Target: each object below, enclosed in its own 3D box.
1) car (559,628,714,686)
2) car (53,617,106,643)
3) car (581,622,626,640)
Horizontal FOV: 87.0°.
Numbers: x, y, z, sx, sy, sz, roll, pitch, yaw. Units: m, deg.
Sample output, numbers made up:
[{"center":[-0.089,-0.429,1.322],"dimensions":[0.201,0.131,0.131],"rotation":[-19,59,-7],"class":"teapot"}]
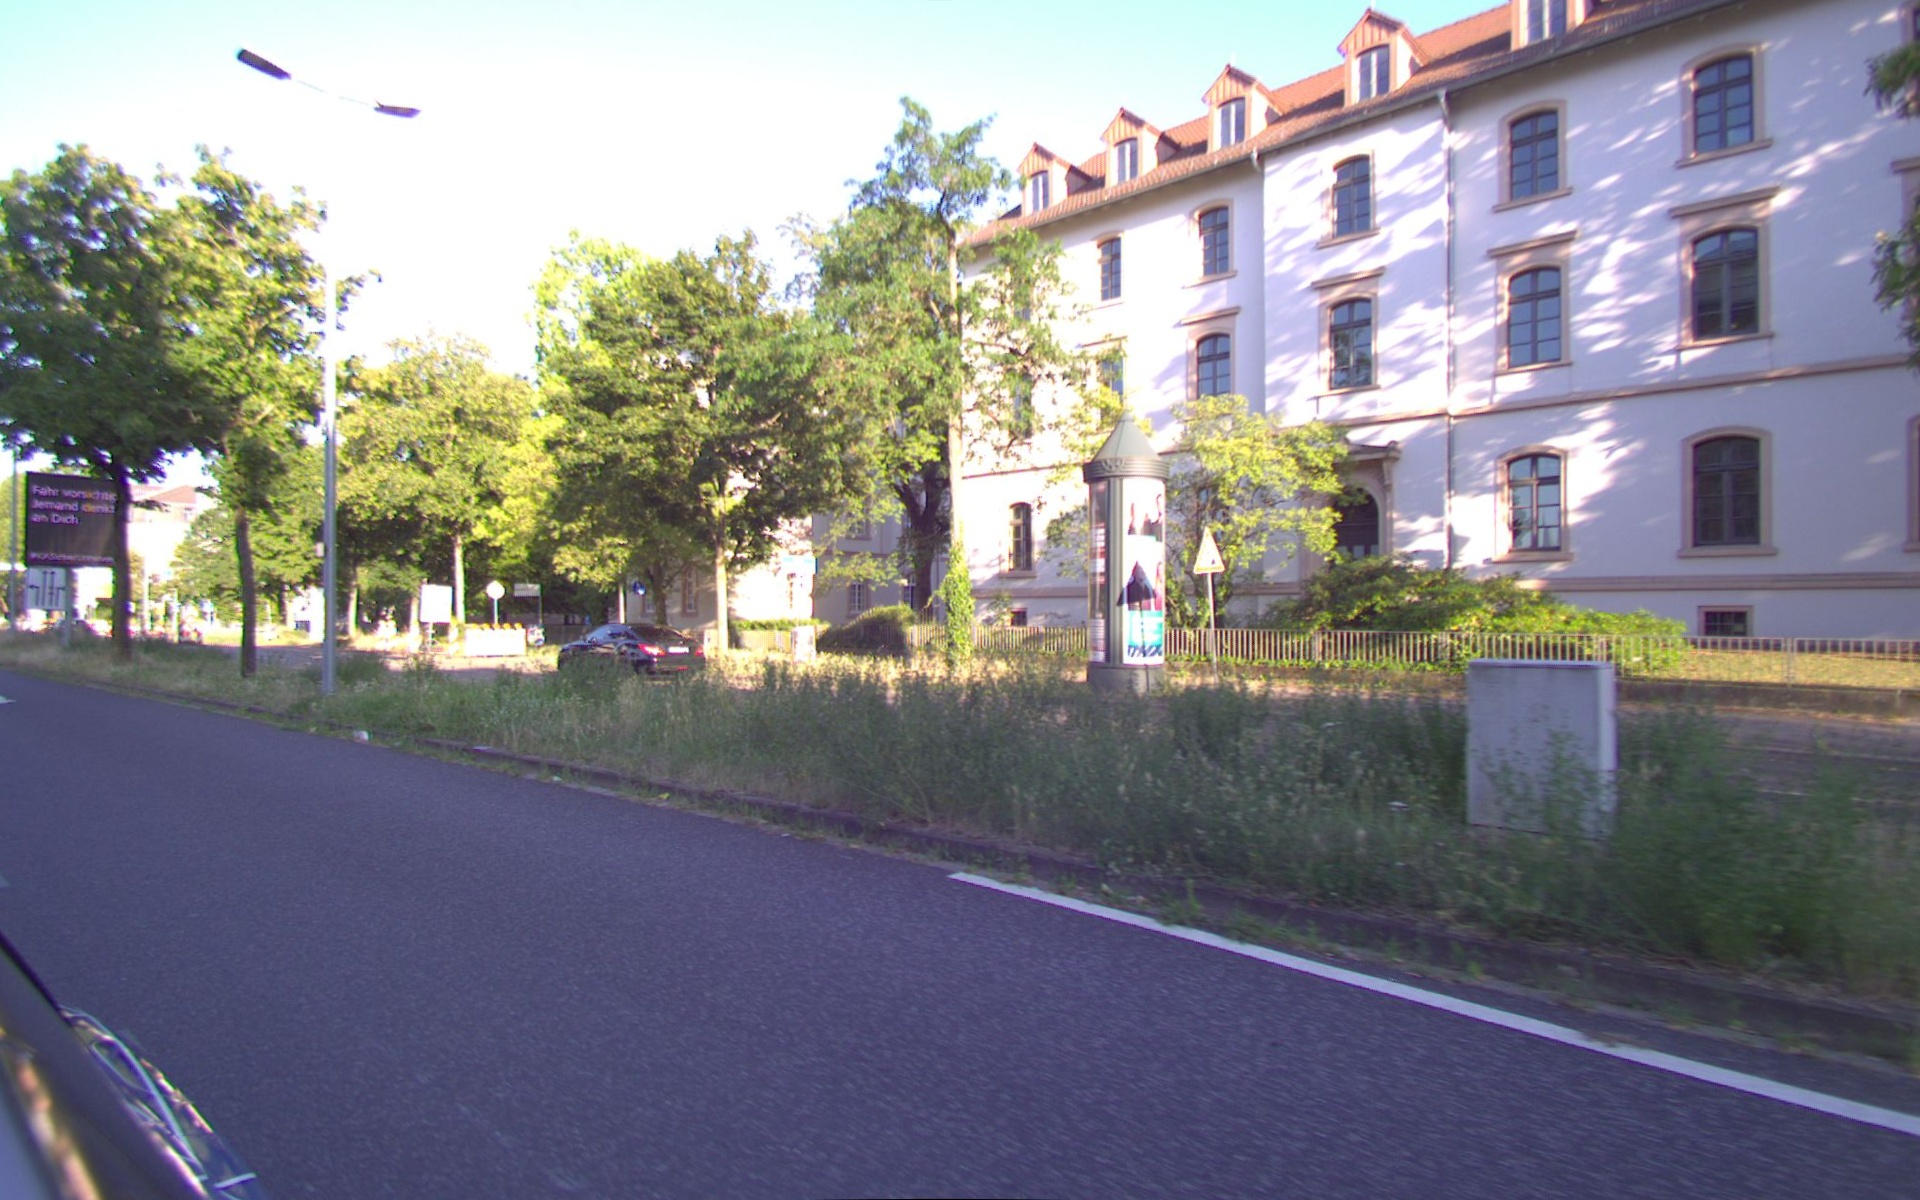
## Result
[{"center":[-7.989,1.386,24.845],"dimensions":[4.006,1.283,1.755],"rotation":[-1,-5,41],"class":"car"},{"center":[-52.241,1.787,60.011],"dimensions":[4.006,1.428,1.755],"rotation":[-1,-5,41],"class":"car"},{"center":[-29.440,2.540,83.519],"dimensions":[3.998,1.386,1.677],"rotation":[-1,0,41],"class":"car"}]
